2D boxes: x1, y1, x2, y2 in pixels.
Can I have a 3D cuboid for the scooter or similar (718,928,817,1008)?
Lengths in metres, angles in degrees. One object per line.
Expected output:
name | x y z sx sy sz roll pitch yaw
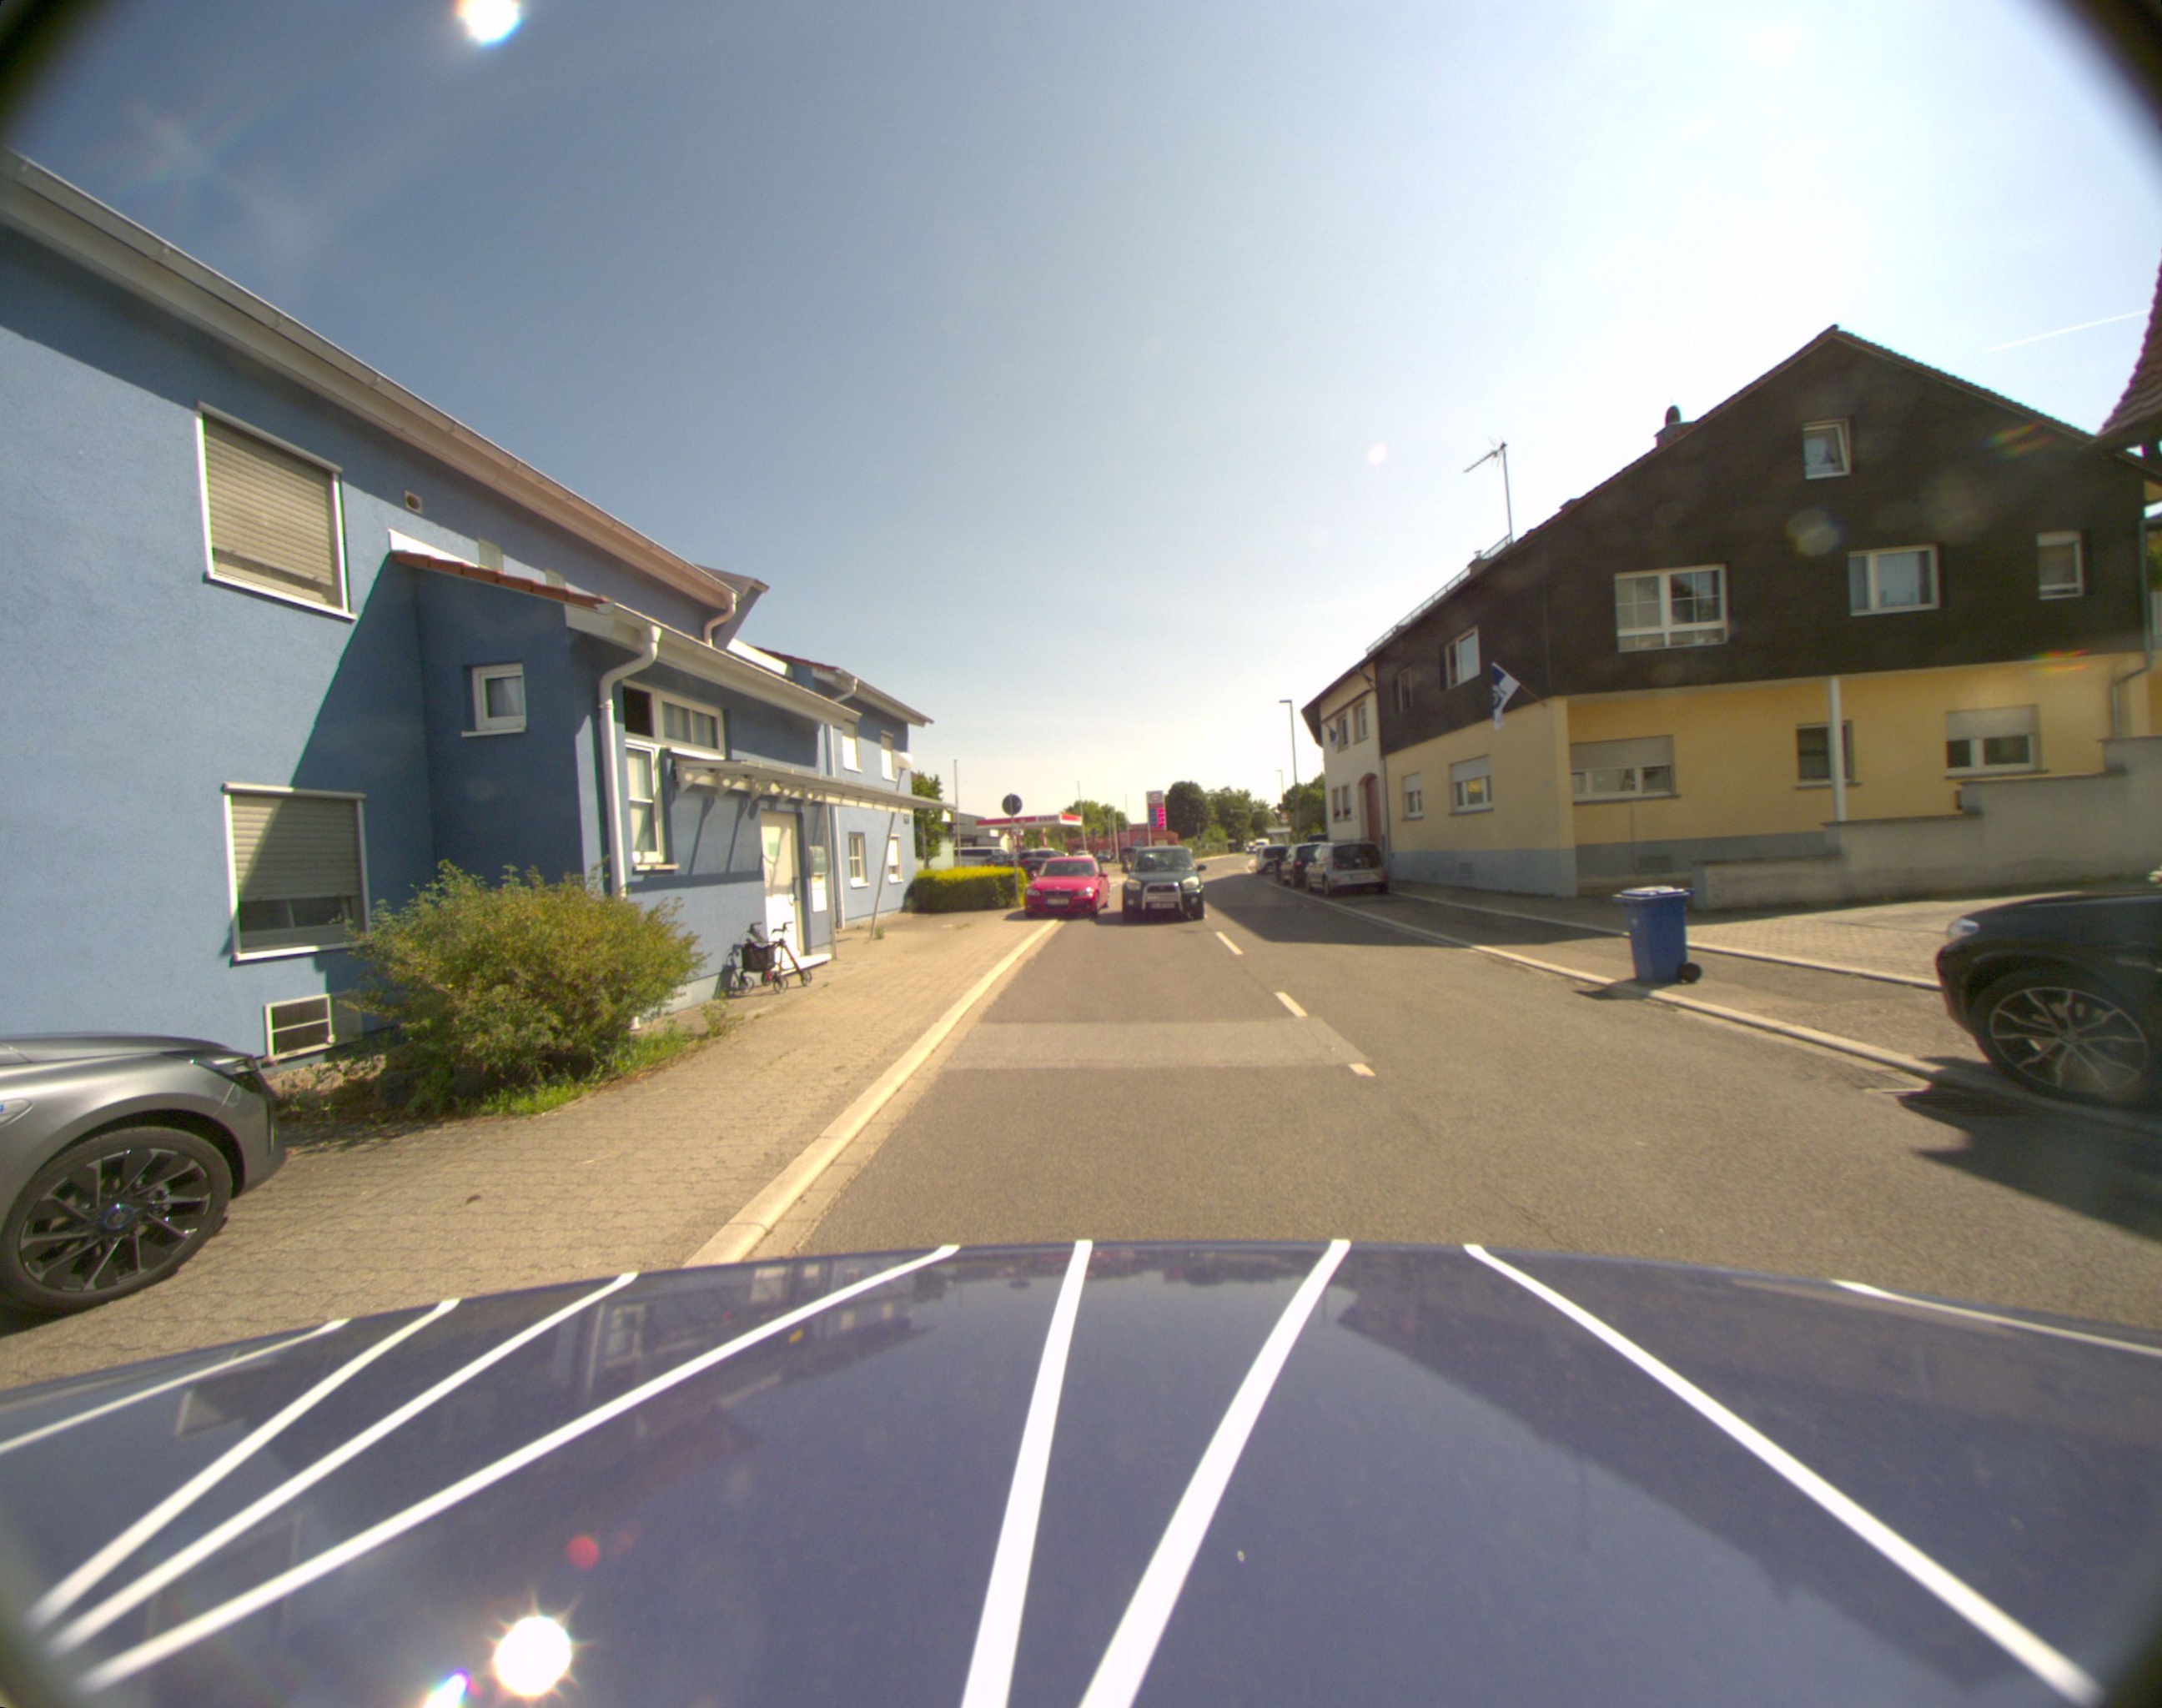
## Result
scooter or similar | -3.747 1.353 9.142 0.729 0.810 0.828 -3 1 9

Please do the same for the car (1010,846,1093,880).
car | -1.622 0.484 41.880 4.118 1.644 1.828 -3 1 -22

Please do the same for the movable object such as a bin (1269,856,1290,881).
movable object such as a bin | 7.962 0.577 30.521 0.552 0.923 0.825 -7 0 1

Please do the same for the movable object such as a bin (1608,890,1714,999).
movable object such as a bin | 5.757 0.886 7.563 0.598 0.976 0.531 -4 1 3

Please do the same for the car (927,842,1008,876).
car | -7.753 0.312 51.924 5.287 2.002 2.229 -3 1 -11

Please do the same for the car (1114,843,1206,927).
car | 1.952 0.667 18.033 1.847 1.686 4.401 -2 0 8

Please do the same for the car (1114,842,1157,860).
car | 5.160 -0.258 72.535 1.777 1.546 4.171 -3 1 -36

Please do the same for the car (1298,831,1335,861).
car | 16.287 -0.593 52.465 1.839 1.782 4.348 -6 0 23

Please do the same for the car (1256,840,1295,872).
car | 10.026 0.093 39.385 1.687 1.453 3.652 -4 1 12

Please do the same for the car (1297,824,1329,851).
car | 19.987 -1.439 65.657 2.130 1.974 5.269 -8 0 14

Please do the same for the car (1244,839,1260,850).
car | 28.220 -1.615 125.450 1.843 1.583 4.111 -2 1 21

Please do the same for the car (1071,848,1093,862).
car | 0.133 0.096 93.687 2.002 1.583 4.340 -3 1 9

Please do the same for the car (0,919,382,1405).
car | -4.360 1.100 1.575 1.693 1.412 4.146 -4 1 5

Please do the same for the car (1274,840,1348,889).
car | 7.983 0.305 26.707 1.682 1.429 3.997 -6 0 7

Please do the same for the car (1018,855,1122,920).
car | -0.152 0.804 19.590 1.735 1.485 4.359 -1 -1 12

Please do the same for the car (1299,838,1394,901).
car | 7.473 0.375 21.754 1.644 1.492 3.782 -5 1 6

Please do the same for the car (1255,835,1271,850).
car | 32.730 -2.039 136.378 1.936 2.488 5.845 -2 1 21

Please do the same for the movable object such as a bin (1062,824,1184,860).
movable object such as a bin | 5.637 -1.549 103.092 16.075 3.995 2.776 -3 1 14

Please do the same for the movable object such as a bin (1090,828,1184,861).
movable object such as a bin | 8.172 -1.297 110.803 13.273 4.141 2.866 -3 1 14

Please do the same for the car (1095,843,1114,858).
car | 2.911 -0.447 93.262 1.844 1.583 4.108 -3 1 9

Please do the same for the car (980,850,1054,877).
car | -4.129 0.596 49.072 4.321 1.541 1.981 -3 1 -22

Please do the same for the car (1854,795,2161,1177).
car | 5.772 0.577 2.412 1.925 1.658 4.665 -5 1 3
